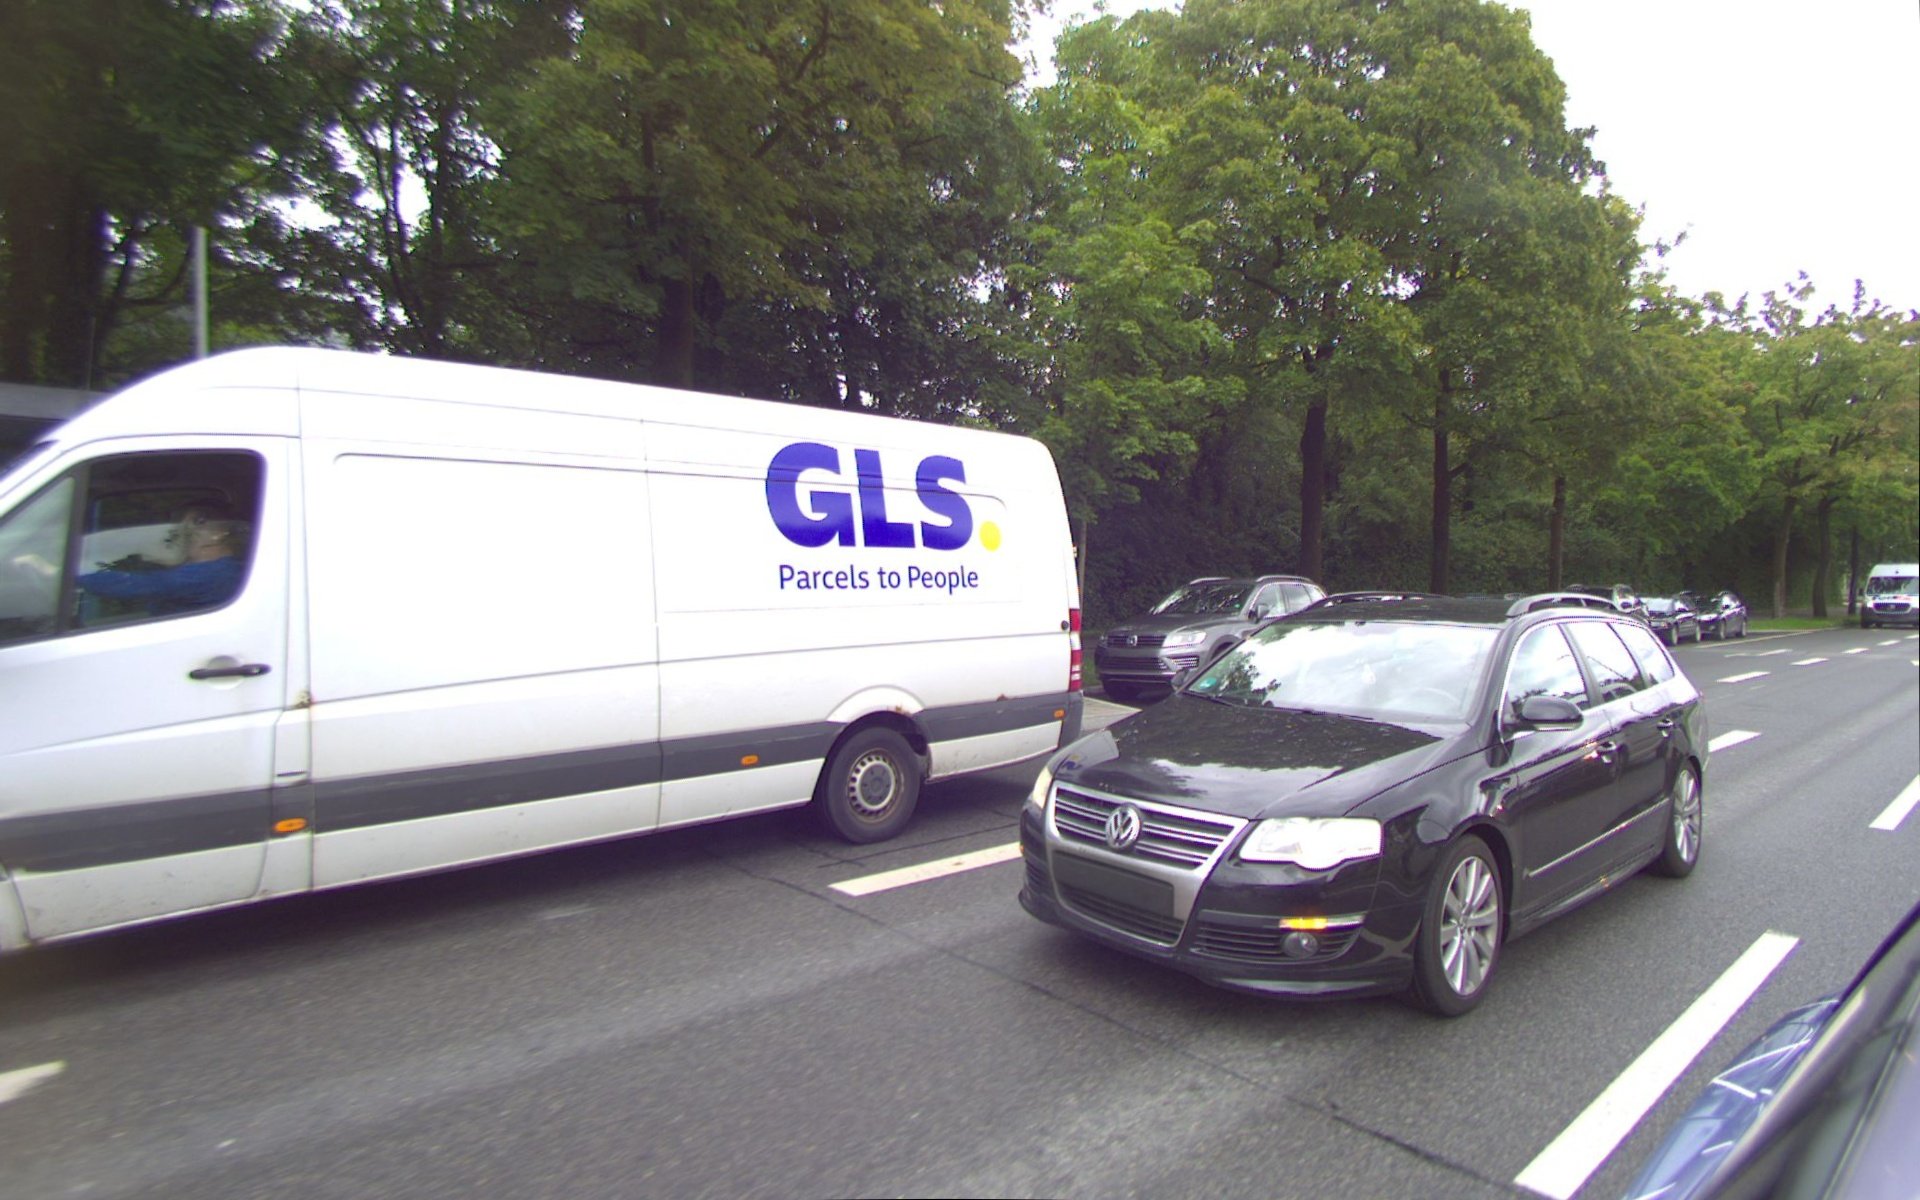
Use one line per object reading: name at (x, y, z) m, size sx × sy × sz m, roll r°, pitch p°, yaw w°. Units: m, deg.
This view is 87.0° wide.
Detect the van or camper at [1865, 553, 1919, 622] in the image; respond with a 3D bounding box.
van or camper at (38.697, -0.514, 40.827) m, size 6.948 × 2.593 × 2.183 m, roll -1°, pitch 2°, yaw -39°

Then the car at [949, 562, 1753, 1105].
car at (2.249, 0.604, 4.956) m, size 4.590 × 1.493 × 1.750 m, roll -1°, pitch 1°, yaw -41°

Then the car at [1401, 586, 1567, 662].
car at (11.311, 0.440, 21.727) m, size 4.181 × 1.446 × 1.750 m, roll -1°, pitch 2°, yaw -41°

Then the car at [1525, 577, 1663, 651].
car at (15.763, 0.277, 25.087) m, size 4.181 × 1.670 × 1.750 m, roll -1°, pitch 2°, yaw -41°

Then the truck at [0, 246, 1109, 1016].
truck at (-2.241, 0.072, 5.719) m, size 7.102 × 2.636 × 1.997 m, roll -1°, pitch 1°, yaw -41°

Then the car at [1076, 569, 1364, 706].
car at (3.824, 0.412, 14.511) m, size 4.320 × 1.670 × 1.882 m, roll -1°, pitch 2°, yaw -41°

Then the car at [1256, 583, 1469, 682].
car at (7.271, 0.473, 18.079) m, size 4.320 × 1.543 × 1.750 m, roll -1°, pitch 2°, yaw -41°

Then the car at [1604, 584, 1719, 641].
car at (19.901, 0.289, 28.674) m, size 3.968 × 1.485 × 1.750 m, roll -1°, pitch 2°, yaw -41°

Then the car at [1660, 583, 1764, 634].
car at (23.640, 0.224, 31.759) m, size 4.181 × 1.485 × 1.750 m, roll -1°, pitch 2°, yaw -41°
